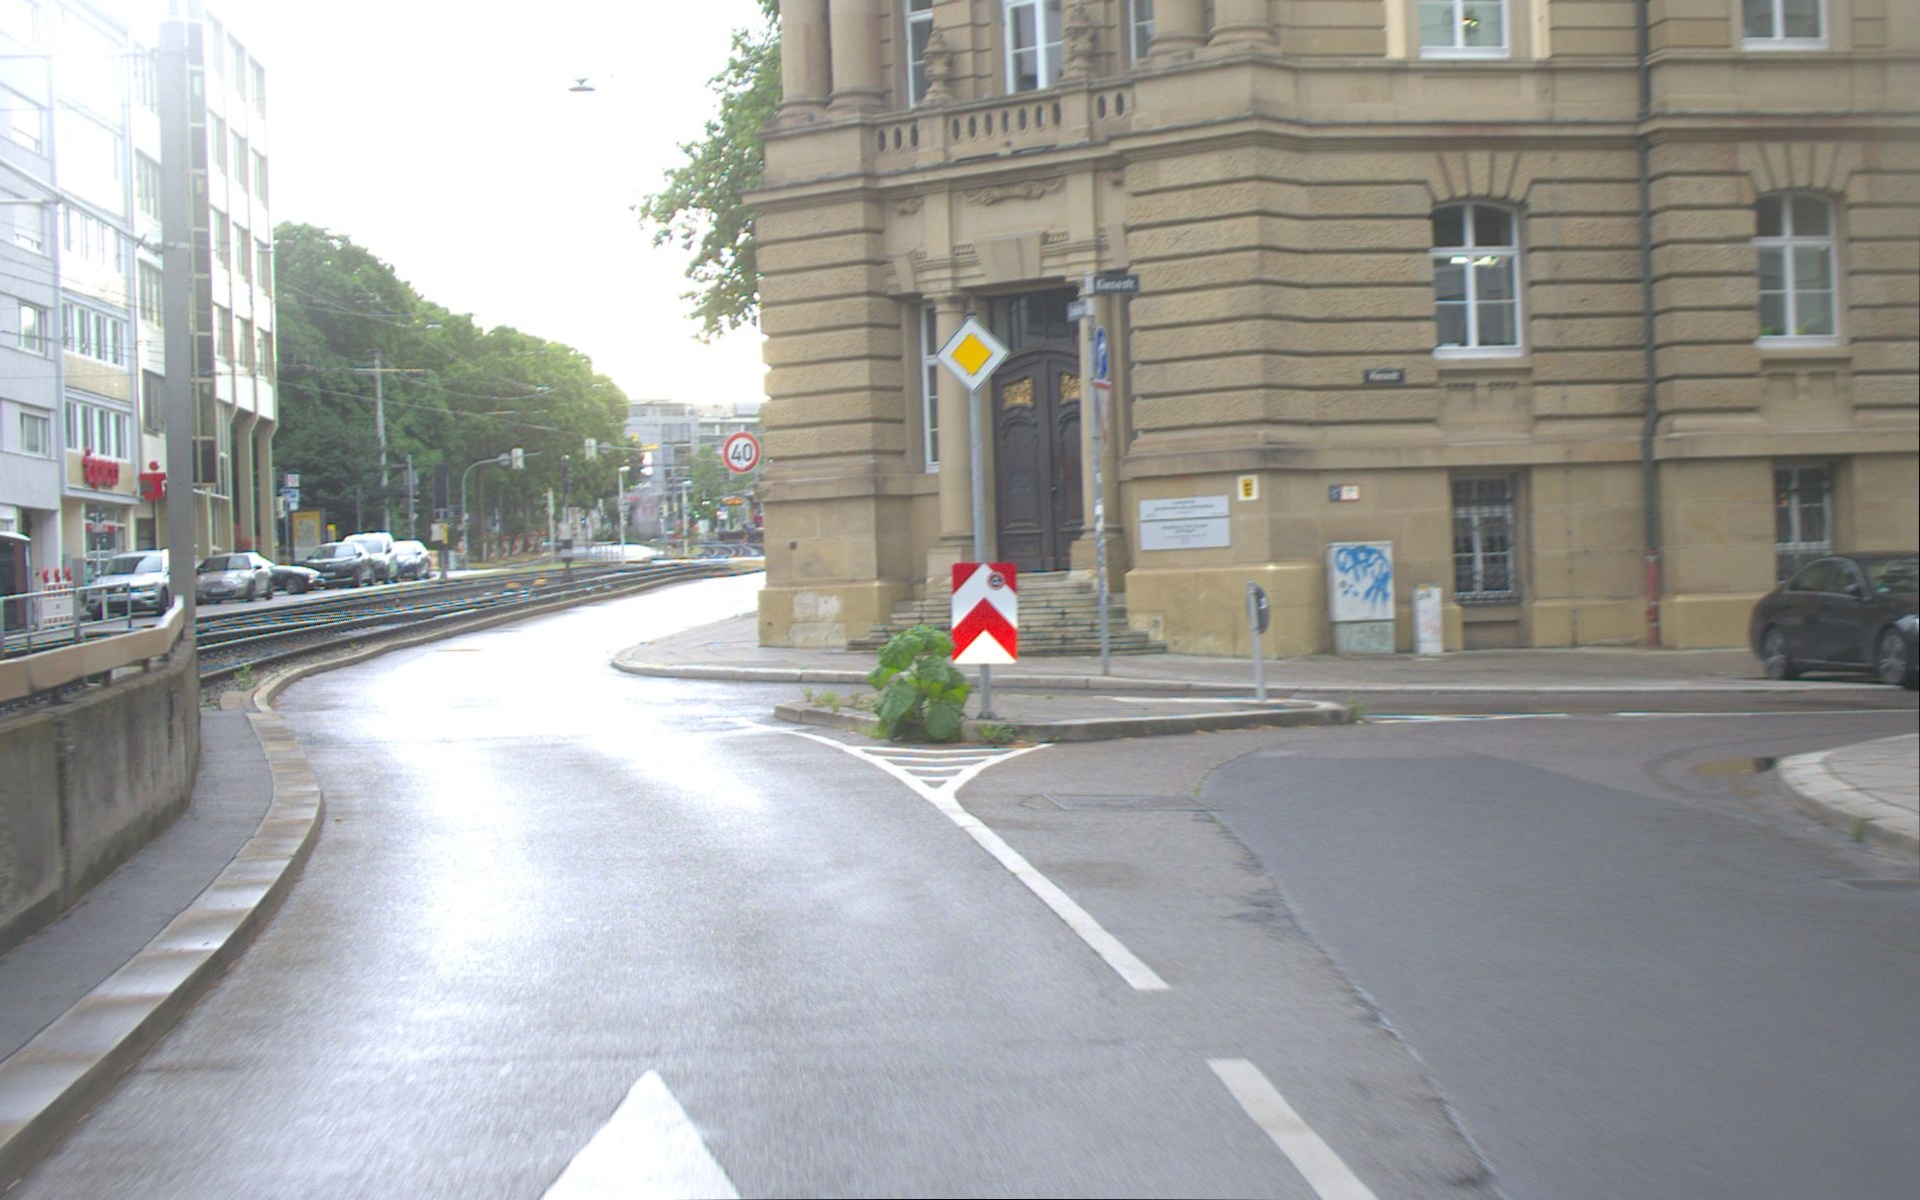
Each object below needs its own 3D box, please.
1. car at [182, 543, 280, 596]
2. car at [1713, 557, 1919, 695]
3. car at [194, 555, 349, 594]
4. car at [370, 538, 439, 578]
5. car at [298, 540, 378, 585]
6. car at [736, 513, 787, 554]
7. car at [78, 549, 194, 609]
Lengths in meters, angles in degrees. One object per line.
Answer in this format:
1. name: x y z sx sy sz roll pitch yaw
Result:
1. car: -20.778 -0.888 98.128 1.993 1.451 4.311 0 1 -2
2. car: 9.970 0.230 37.253 1.734 1.363 5.004 -1 1 -10
3. car: -21.519 -0.797 107.542 4.298 1.159 1.999 0 1 10
4. car: -20.479 -1.568 126.849 1.993 1.451 4.311 0 1 -2
5. car: -20.684 -1.263 114.526 1.993 1.451 4.311 0 1 -2
6. car: -8.166 -2.754 141.862 1.993 1.656 4.000 0 1 -2
7. car: -20.567 -0.551 85.947 1.993 1.451 4.311 0 1 -2
